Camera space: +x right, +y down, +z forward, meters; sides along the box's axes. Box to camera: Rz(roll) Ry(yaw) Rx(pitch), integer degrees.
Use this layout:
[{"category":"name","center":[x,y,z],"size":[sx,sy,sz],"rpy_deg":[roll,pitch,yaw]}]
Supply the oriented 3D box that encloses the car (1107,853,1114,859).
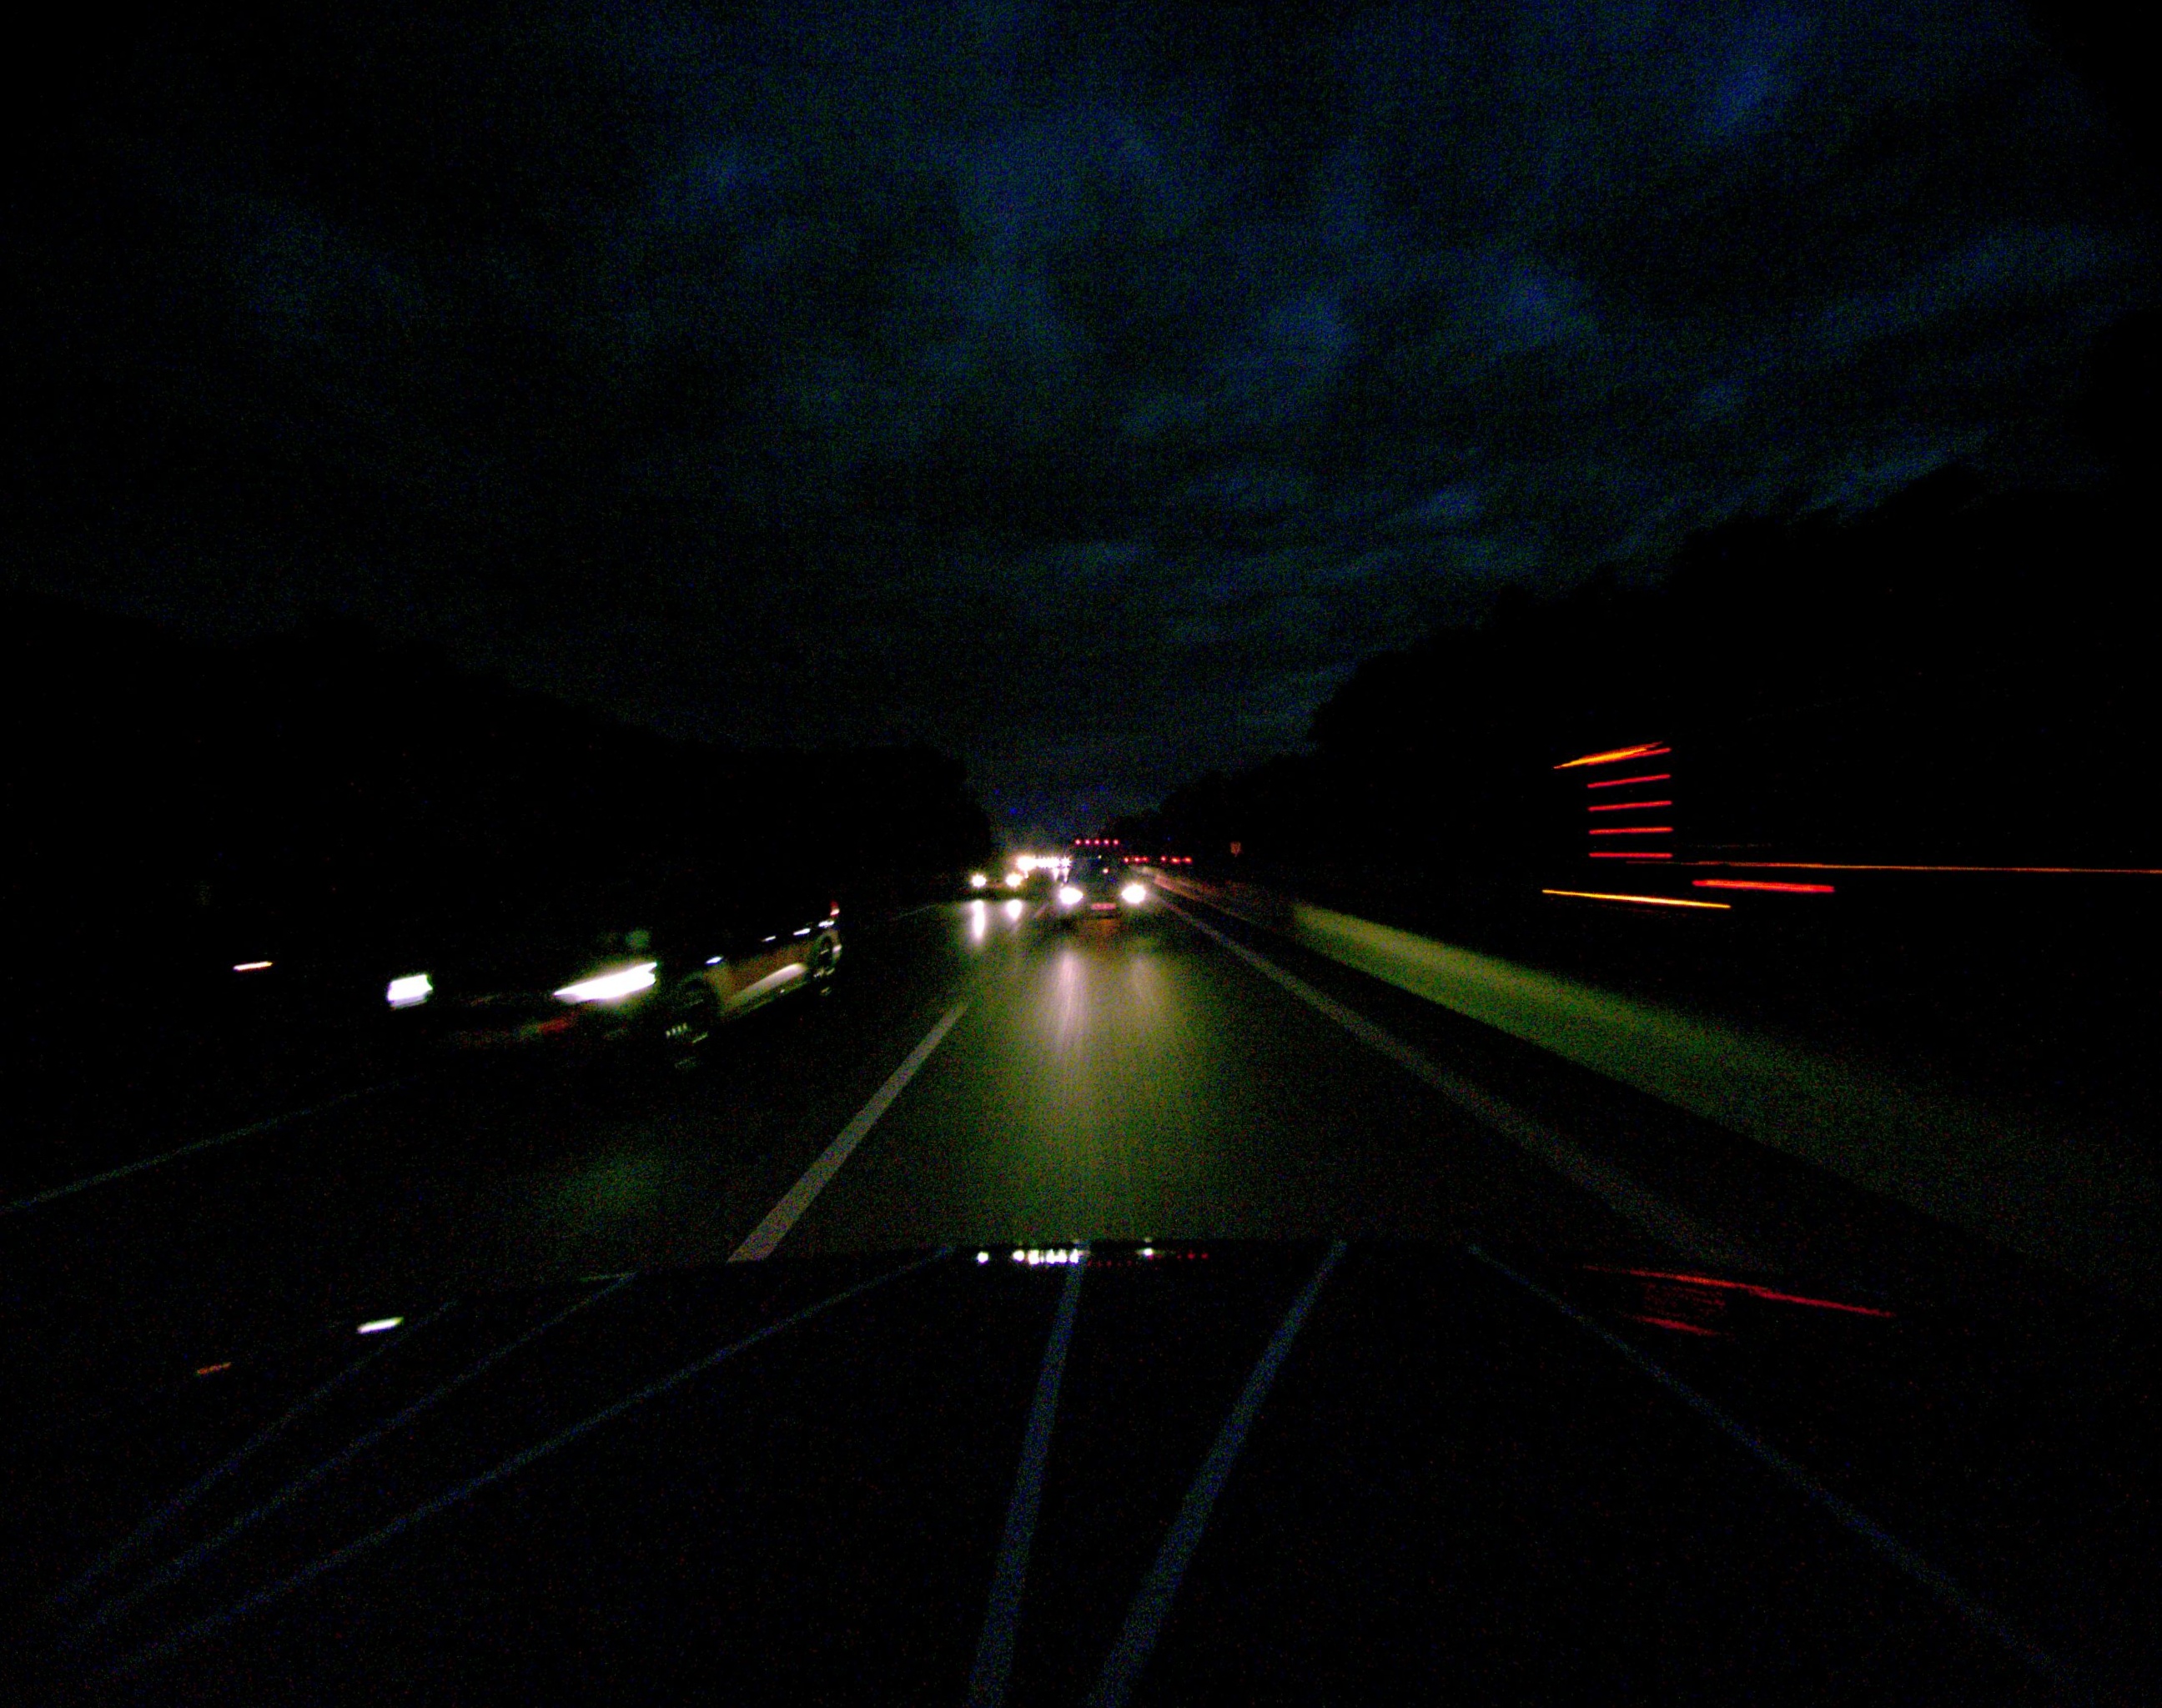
[{"category":"car","center":[8.724,0.569,225.237],"size":[1.998,1.629,5.111],"rpy_deg":[-2,0,2]}]

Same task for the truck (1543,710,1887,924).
[{"category":"truck","center":[14.277,-0.722,17.992],"size":[2.656,4.107,6.524],"rpy_deg":[-1,0,0]}]

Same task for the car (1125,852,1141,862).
[{"category":"car","center":[7.479,0.382,109.597],"size":[1.998,1.393,4.687],"rpy_deg":[-2,0,0]}]

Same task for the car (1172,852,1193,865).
[{"category":"car","center":[11.644,0.544,87.668],"size":[1.781,1.393,4.939],"rpy_deg":[-2,0,0]}]

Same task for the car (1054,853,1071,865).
[{"category":"car","center":[-2.583,0.766,105.159],"size":[1.999,1.539,3.999],"rpy_deg":[-1,-2,-6]}]

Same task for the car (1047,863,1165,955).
[{"category":"car","center":[0.475,0.916,14.470],"size":[1.879,1.435,4.452],"rpy_deg":[-1,-1,2]}]

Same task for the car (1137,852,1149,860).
[{"category":"car","center":[11.506,0.397,140.527],"size":[1.759,1.420,5.363],"rpy_deg":[-2,0,0]}]

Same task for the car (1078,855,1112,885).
[{"category":"car","center":[0.852,0.873,43.624],"size":[1.813,1.458,5.131],"rpy_deg":[1,1,2]}]

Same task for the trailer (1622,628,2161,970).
[{"category":"trailer","center":[14.310,-0.683,11.000],"size":[2.656,4.107,14.325],"rpy_deg":[-1,0,0]}]

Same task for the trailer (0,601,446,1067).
[{"category":"trailer","center":[-10.921,-0.155,5.978],"size":[2.914,4.076,10.357],"rpy_deg":[-1,0,1]}]

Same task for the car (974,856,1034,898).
[{"category":"car","center":[-3.163,0.890,32.083],"size":[1.914,1.528,5.231],"rpy_deg":[-1,1,1]}]

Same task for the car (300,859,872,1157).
[{"category":"car","center":[-3.672,0.948,7.104],"size":[1.908,1.634,5.052],"rpy_deg":[-3,0,1]}]
